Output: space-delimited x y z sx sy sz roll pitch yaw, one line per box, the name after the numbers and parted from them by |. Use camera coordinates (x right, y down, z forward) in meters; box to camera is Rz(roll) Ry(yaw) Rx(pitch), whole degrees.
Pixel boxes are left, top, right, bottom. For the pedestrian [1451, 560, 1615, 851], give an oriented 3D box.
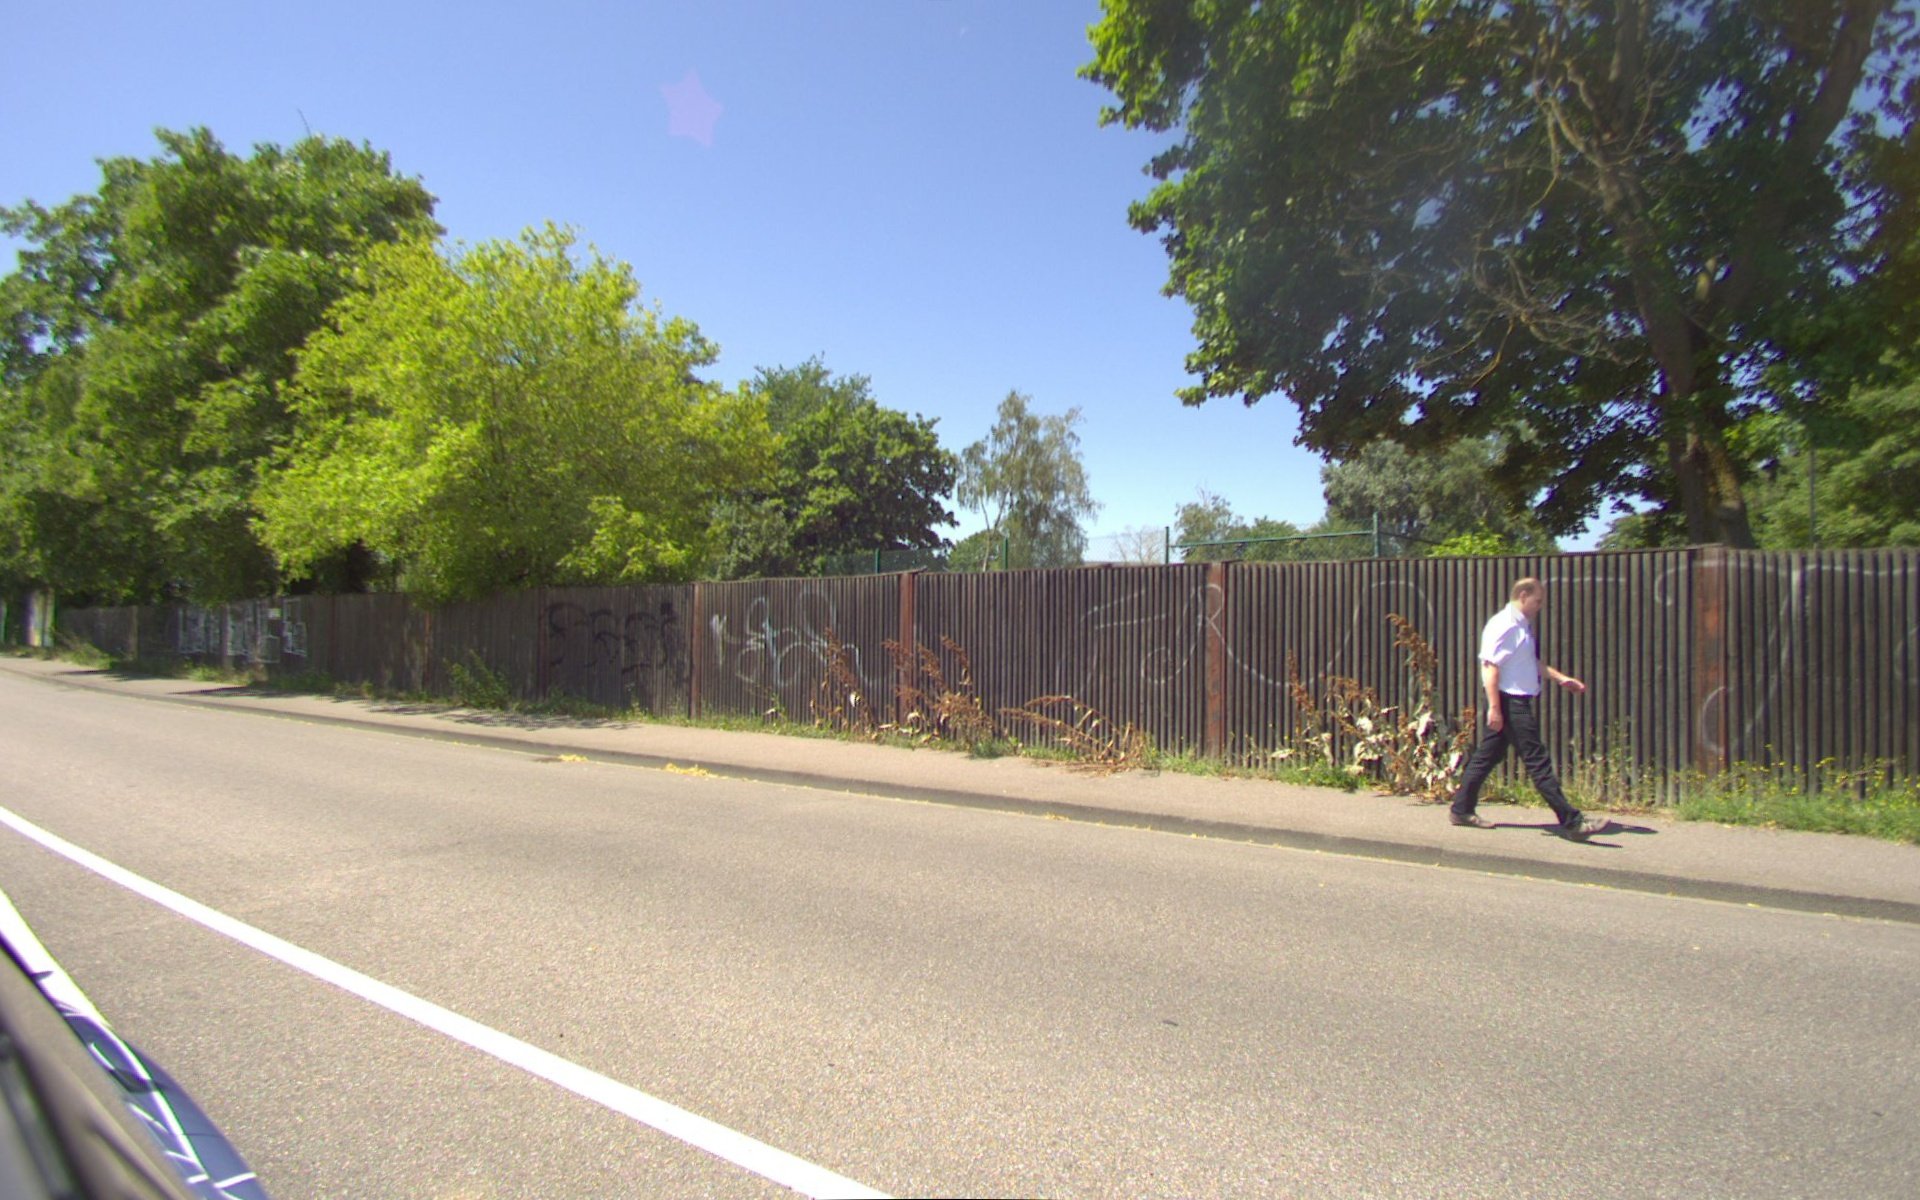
3.903 0.669 6.907 0.850 1.838 0.586 -1 -1 41 | pedestrian
